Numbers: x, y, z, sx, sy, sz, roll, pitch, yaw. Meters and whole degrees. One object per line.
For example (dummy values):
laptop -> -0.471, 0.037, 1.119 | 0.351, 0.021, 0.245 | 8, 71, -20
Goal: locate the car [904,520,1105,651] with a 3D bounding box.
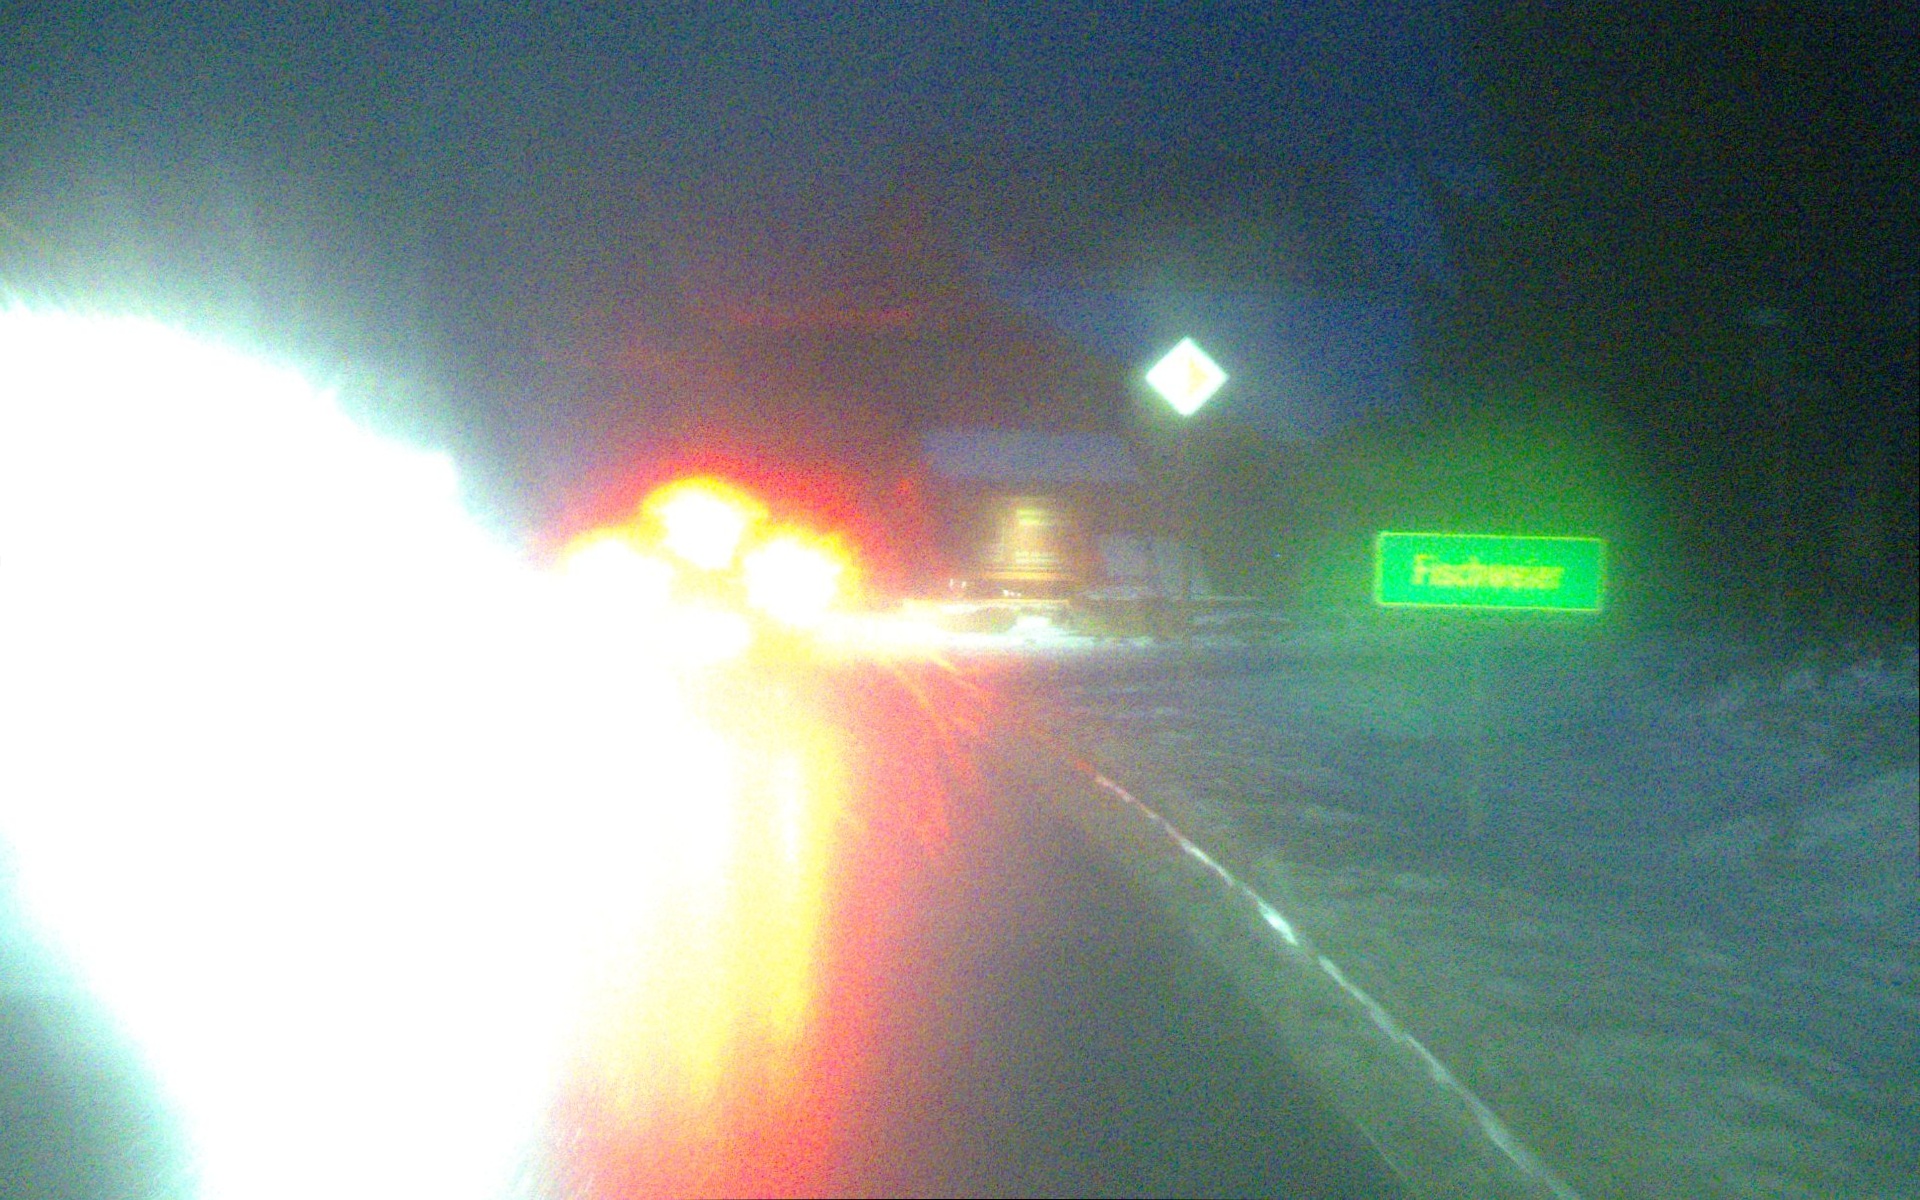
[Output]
car -> 0.684, -0.268, 56.772 | 1.877, 2.033, 4.392 | 1, 1, -19

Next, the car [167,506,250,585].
car -> -20.537, -1.501, 93.808 | 1.918, 2.050, 4.889 | 1, 1, -15

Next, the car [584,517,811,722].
car -> -2.312, 0.122, 29.696 | 1.801, 1.623, 3.616 | 1, 1, -6

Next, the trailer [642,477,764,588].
trailer -> -5.835, -1.540, 77.687 | 1.629, 2.356, 4.655 | 3, 0, -17

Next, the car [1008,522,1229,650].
car -> 2.336, -0.237, 51.845 | 1.877, 1.803, 4.157 | 1, 1, -19

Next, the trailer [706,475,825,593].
trailer -> -4.162, -1.409, 73.082 | 1.605, 2.344, 4.432 | 3, 0, -14

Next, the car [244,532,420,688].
car -> -7.639, 0.092, 42.103 | 1.976, 1.772, 4.001 | 2, 1, -9
